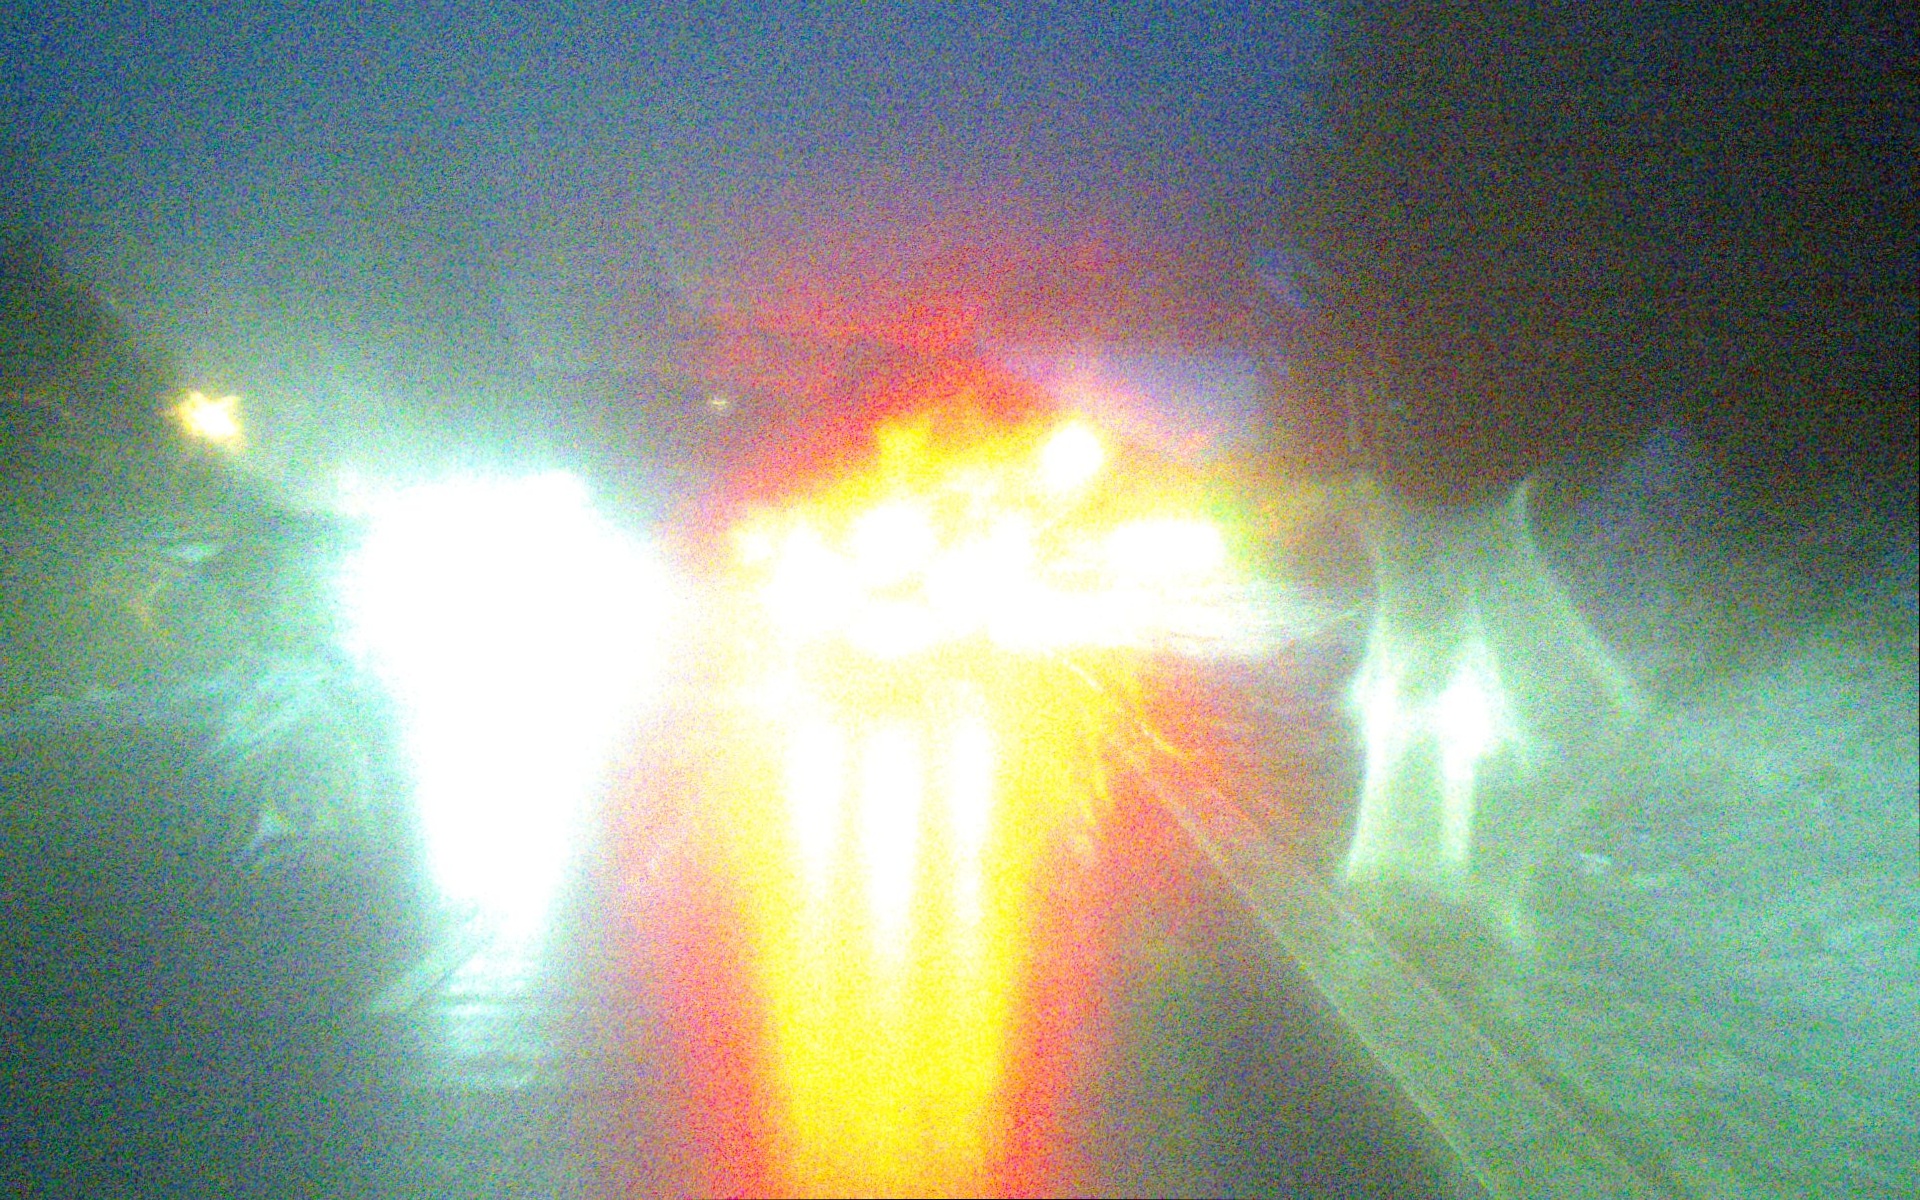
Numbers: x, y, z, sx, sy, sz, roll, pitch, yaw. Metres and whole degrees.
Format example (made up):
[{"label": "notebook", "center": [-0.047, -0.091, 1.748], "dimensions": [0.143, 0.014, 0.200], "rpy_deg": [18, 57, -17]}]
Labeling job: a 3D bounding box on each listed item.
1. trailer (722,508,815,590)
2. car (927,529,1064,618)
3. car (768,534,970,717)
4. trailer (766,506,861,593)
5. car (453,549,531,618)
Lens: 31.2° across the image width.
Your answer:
[{"label": "trailer", "center": [-5.708, -1.517, 102.021], "dimensions": [1.629, 2.356, 4.654], "rpy_deg": [2, 0, -17]}, {"label": "car", "center": [0.801, -0.638, 81.268], "dimensions": [1.877, 2.033, 4.392], "rpy_deg": [0, 1, -19]}, {"label": "car", "center": [-0.837, 0.195, 32.442], "dimensions": [1.801, 1.623, 3.615], "rpy_deg": [0, 1, -1]}, {"label": "trailer", "center": [-4.169, -1.432, 97.311], "dimensions": [1.605, 2.344, 4.432], "rpy_deg": [2, 0, -16]}, {"label": "car", "center": [-12.322, -0.446, 90.412], "dimensions": [1.976, 1.772, 4.001], "rpy_deg": [0, 1, -8]}]
